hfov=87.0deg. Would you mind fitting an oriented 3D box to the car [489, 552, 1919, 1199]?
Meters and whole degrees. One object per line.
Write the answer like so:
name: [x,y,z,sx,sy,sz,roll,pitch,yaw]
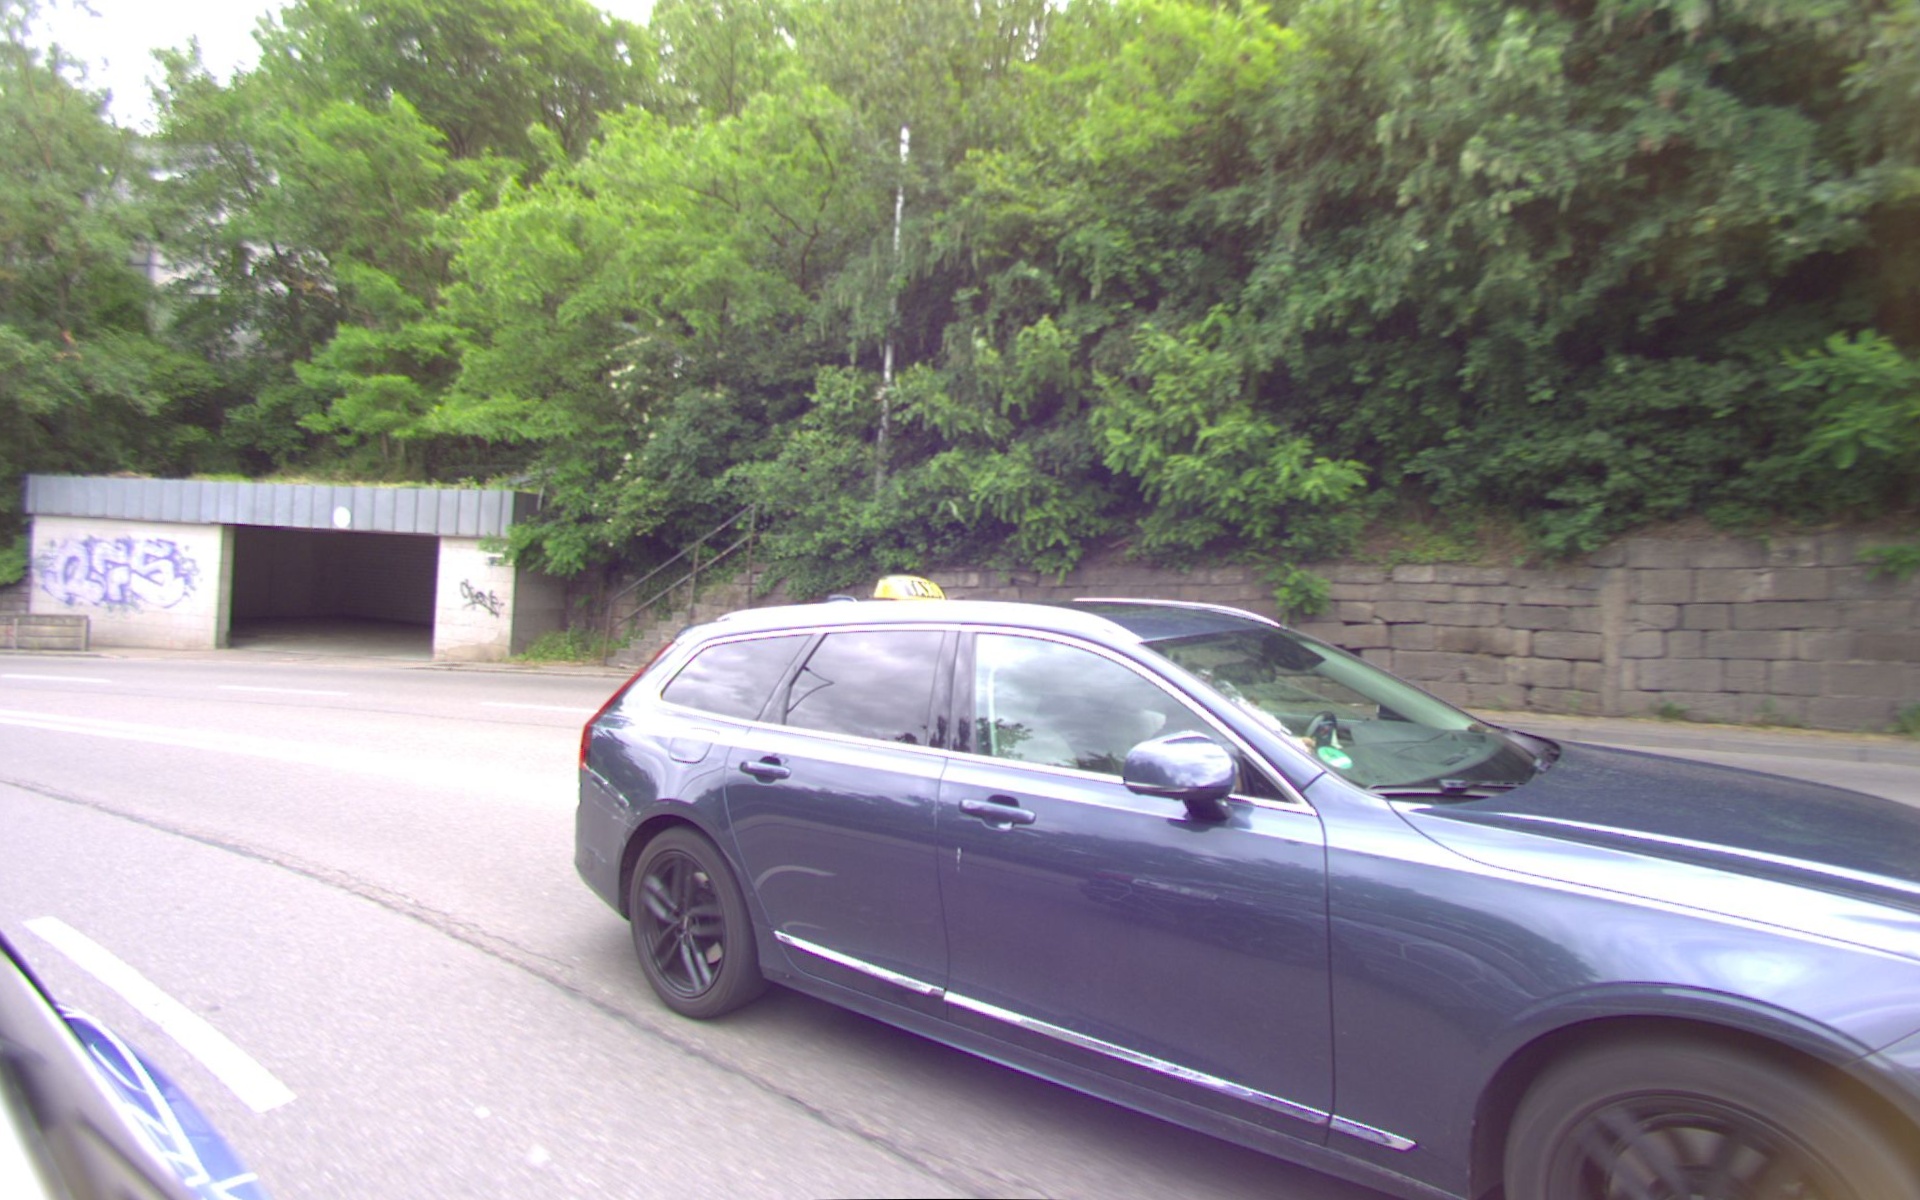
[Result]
car: [0.728,0.664,3.218,5.019,1.588,1.917,1,3,37]
